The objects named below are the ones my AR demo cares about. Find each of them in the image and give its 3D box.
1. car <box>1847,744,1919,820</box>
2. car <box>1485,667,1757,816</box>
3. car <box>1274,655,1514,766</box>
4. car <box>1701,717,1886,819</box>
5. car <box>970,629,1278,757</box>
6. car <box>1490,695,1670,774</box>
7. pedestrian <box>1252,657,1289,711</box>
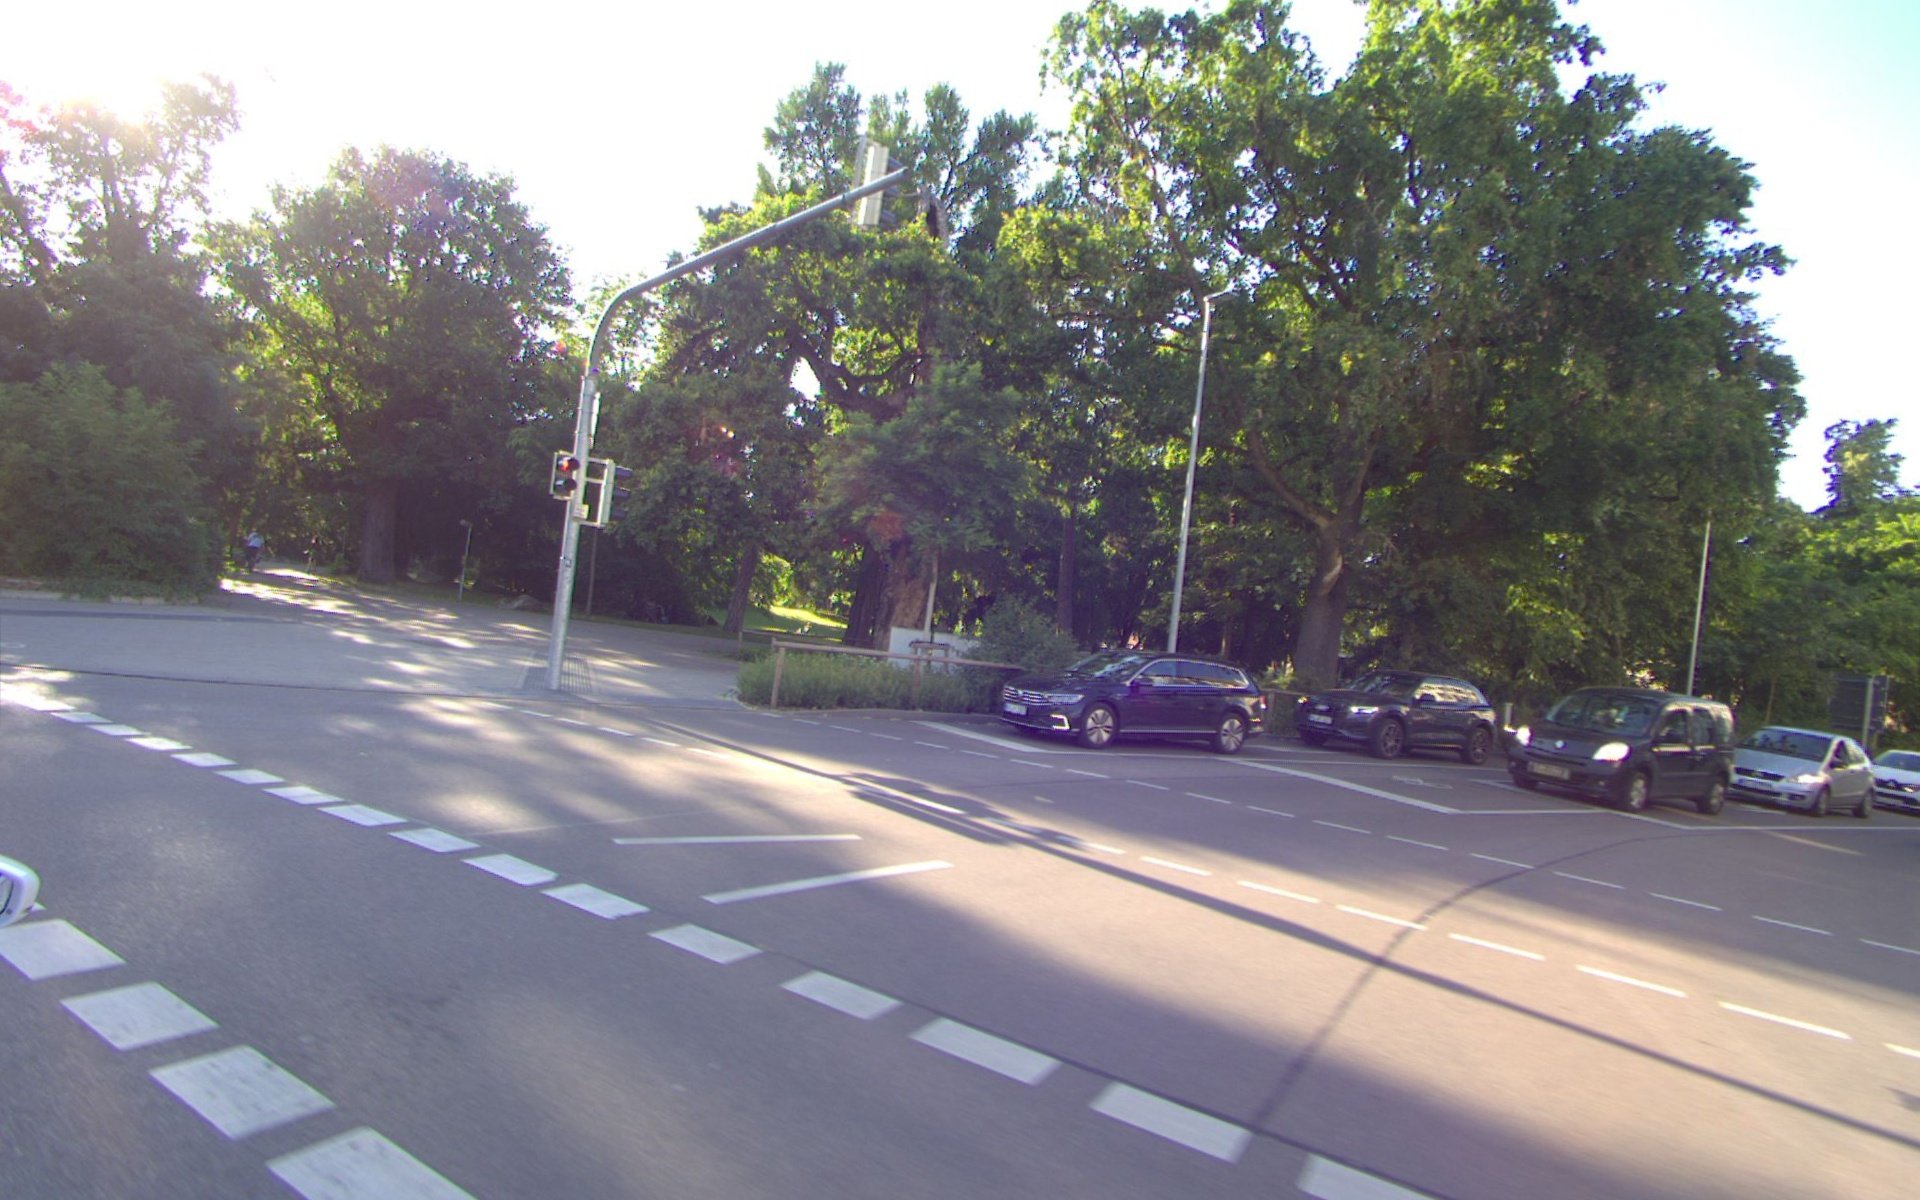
[{"bbox_3d":[22.495,4.308,23.553,3.615,1.432,1.617,8,0,-34],"label":"car"},{"bbox_3d":[10.456,2.250,15.844,4.207,1.827,1.931,8,1,-34],"label":"car"},{"bbox_3d":[8.497,2.172,19.612,4.488,1.672,1.889,7,-2,-30],"label":"car"},{"bbox_3d":[16.261,3.286,19.605,3.496,1.529,1.722,8,1,-34],"label":"car"},{"bbox_3d":[2.610,1.472,15.574,4.558,1.491,1.887,8,-2,-34],"label":"car"},{"bbox_3d":[14.300,3.113,23.152,4.195,1.398,1.887,8,-2,-34],"label":"car"},{"bbox_3d":[10.641,2.880,34.479,0.774,1.752,0.802,7,2,43],"label":"pedestrian"}]
